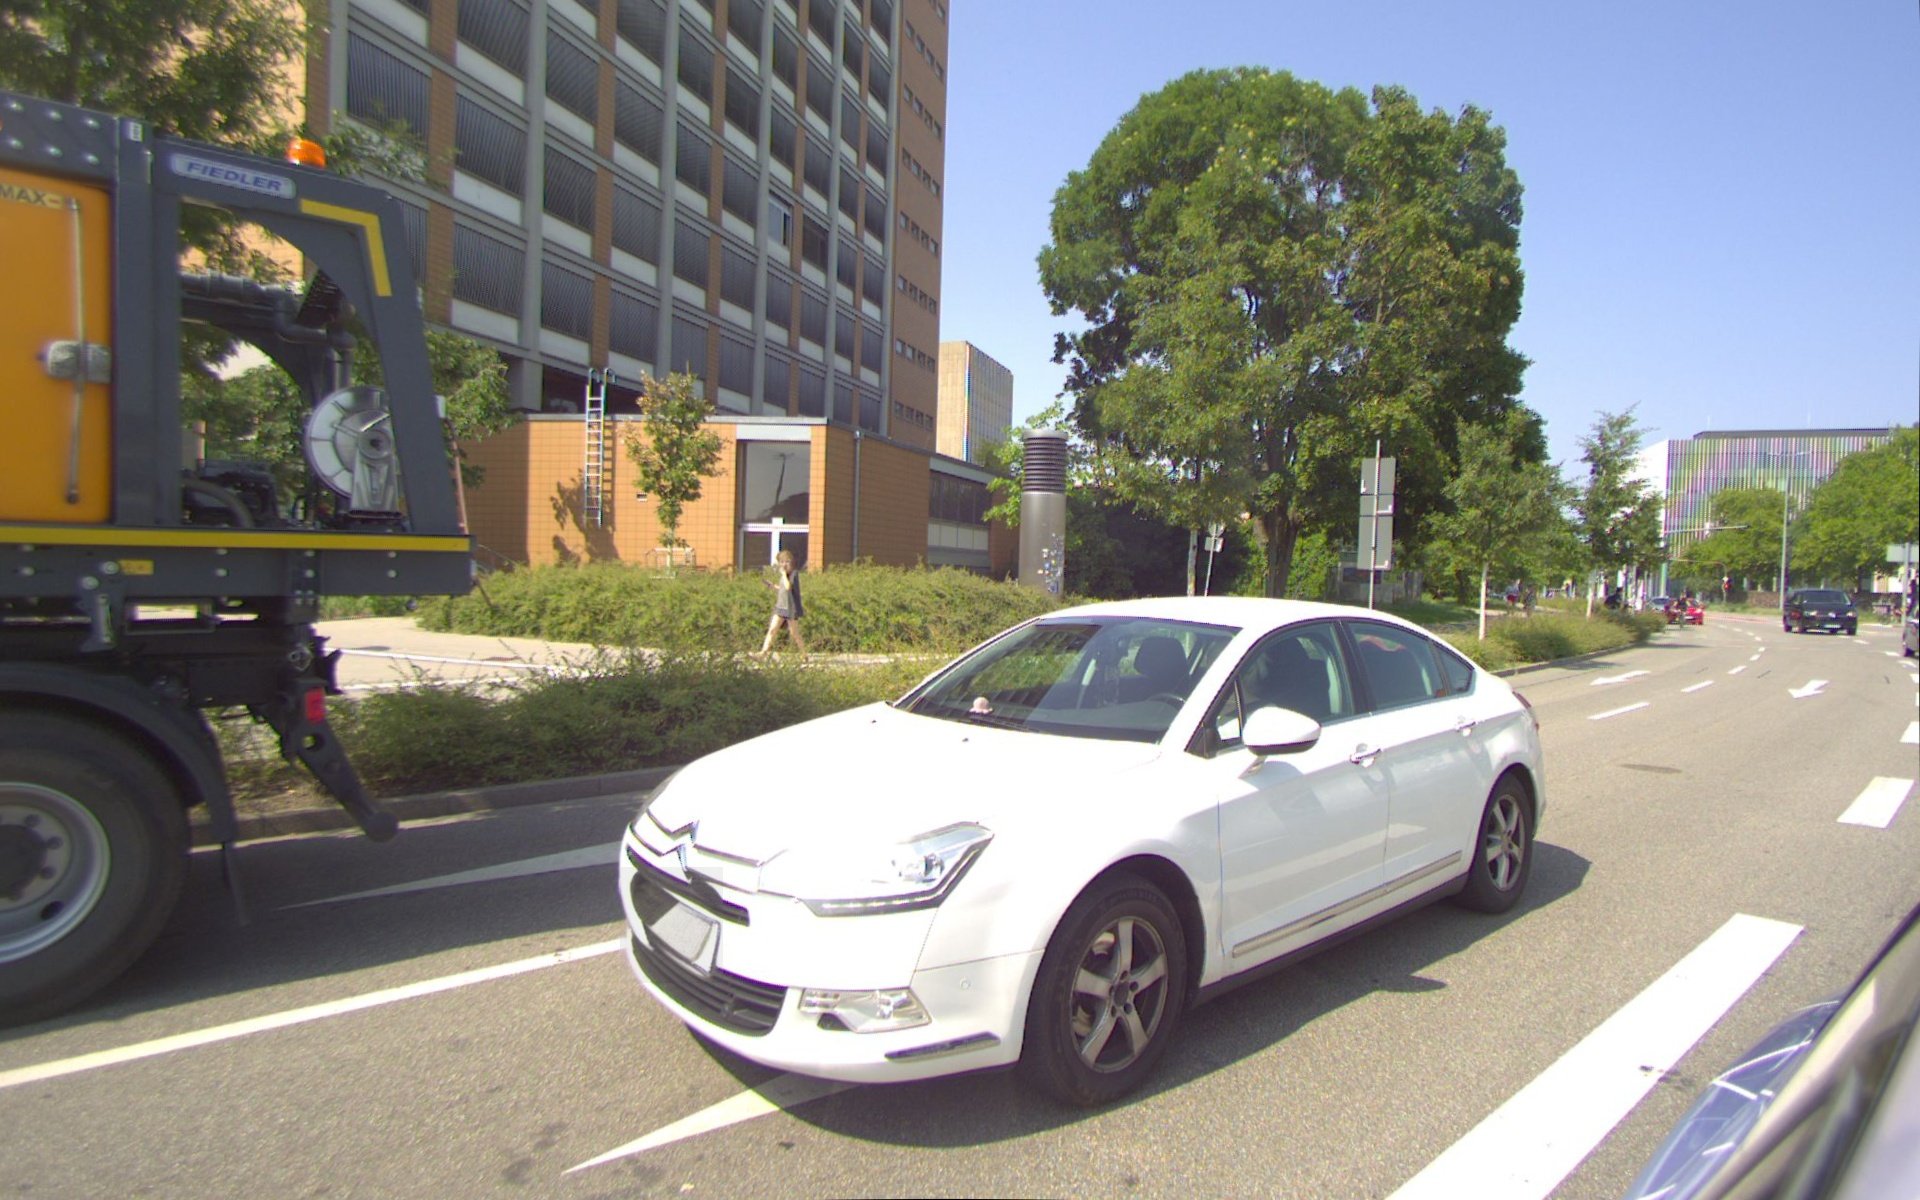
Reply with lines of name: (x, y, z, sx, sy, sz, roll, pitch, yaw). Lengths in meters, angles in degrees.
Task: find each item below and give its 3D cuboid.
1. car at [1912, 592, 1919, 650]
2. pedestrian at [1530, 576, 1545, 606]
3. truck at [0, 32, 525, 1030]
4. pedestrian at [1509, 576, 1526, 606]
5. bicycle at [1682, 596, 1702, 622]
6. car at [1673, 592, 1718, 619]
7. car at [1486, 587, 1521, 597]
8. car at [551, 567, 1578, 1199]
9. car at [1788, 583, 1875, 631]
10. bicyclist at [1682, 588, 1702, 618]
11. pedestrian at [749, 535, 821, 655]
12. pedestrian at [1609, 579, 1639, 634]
car: (25.906, 0.576, 25.957, 1.650, 1.550, 4.473, 0, 0, 37)
pedestrian: (25.728, -0.408, 45.102, 0.572, 1.315, 0.433, 0, 0, 31)
truck: (-5.222, -0.249, 3.083, 6.736, 3.173, 2.498, 0, 2, -39)
pedestrian: (25.008, -0.401, 45.422, 0.630, 1.315, 0.481, 0, 0, 32)
bicycle: (35.997, 0.434, 49.786, 0.590, 1.183, 2.210, 2, 2, 32)
car: (40.991, 0.266, 56.461, 1.637, 1.449, 3.775, 1, 1, 30)
car: (81.810, -1.242, 152.368, 4.354, 1.405, 1.765, 0, 0, 13)
car: (0.859, 0.636, 4.348, 4.529, 1.446, 1.772, 0, 2, -41)
car: (37.546, 0.253, 43.727, 1.874, 1.943, 4.489, 1, 1, 28)
bicyclist: (35.946, 0.132, 49.700, 0.674, 1.417, 1.037, 2, 1, 32)
pedestrian: (-2.599, -0.077, 15.019, 0.792, 1.720, 0.671, 1, 1, -41)
pedestrian: (23.776, 0.217, 36.246, 0.818, 1.926, 0.622, 2, 1, 37)
